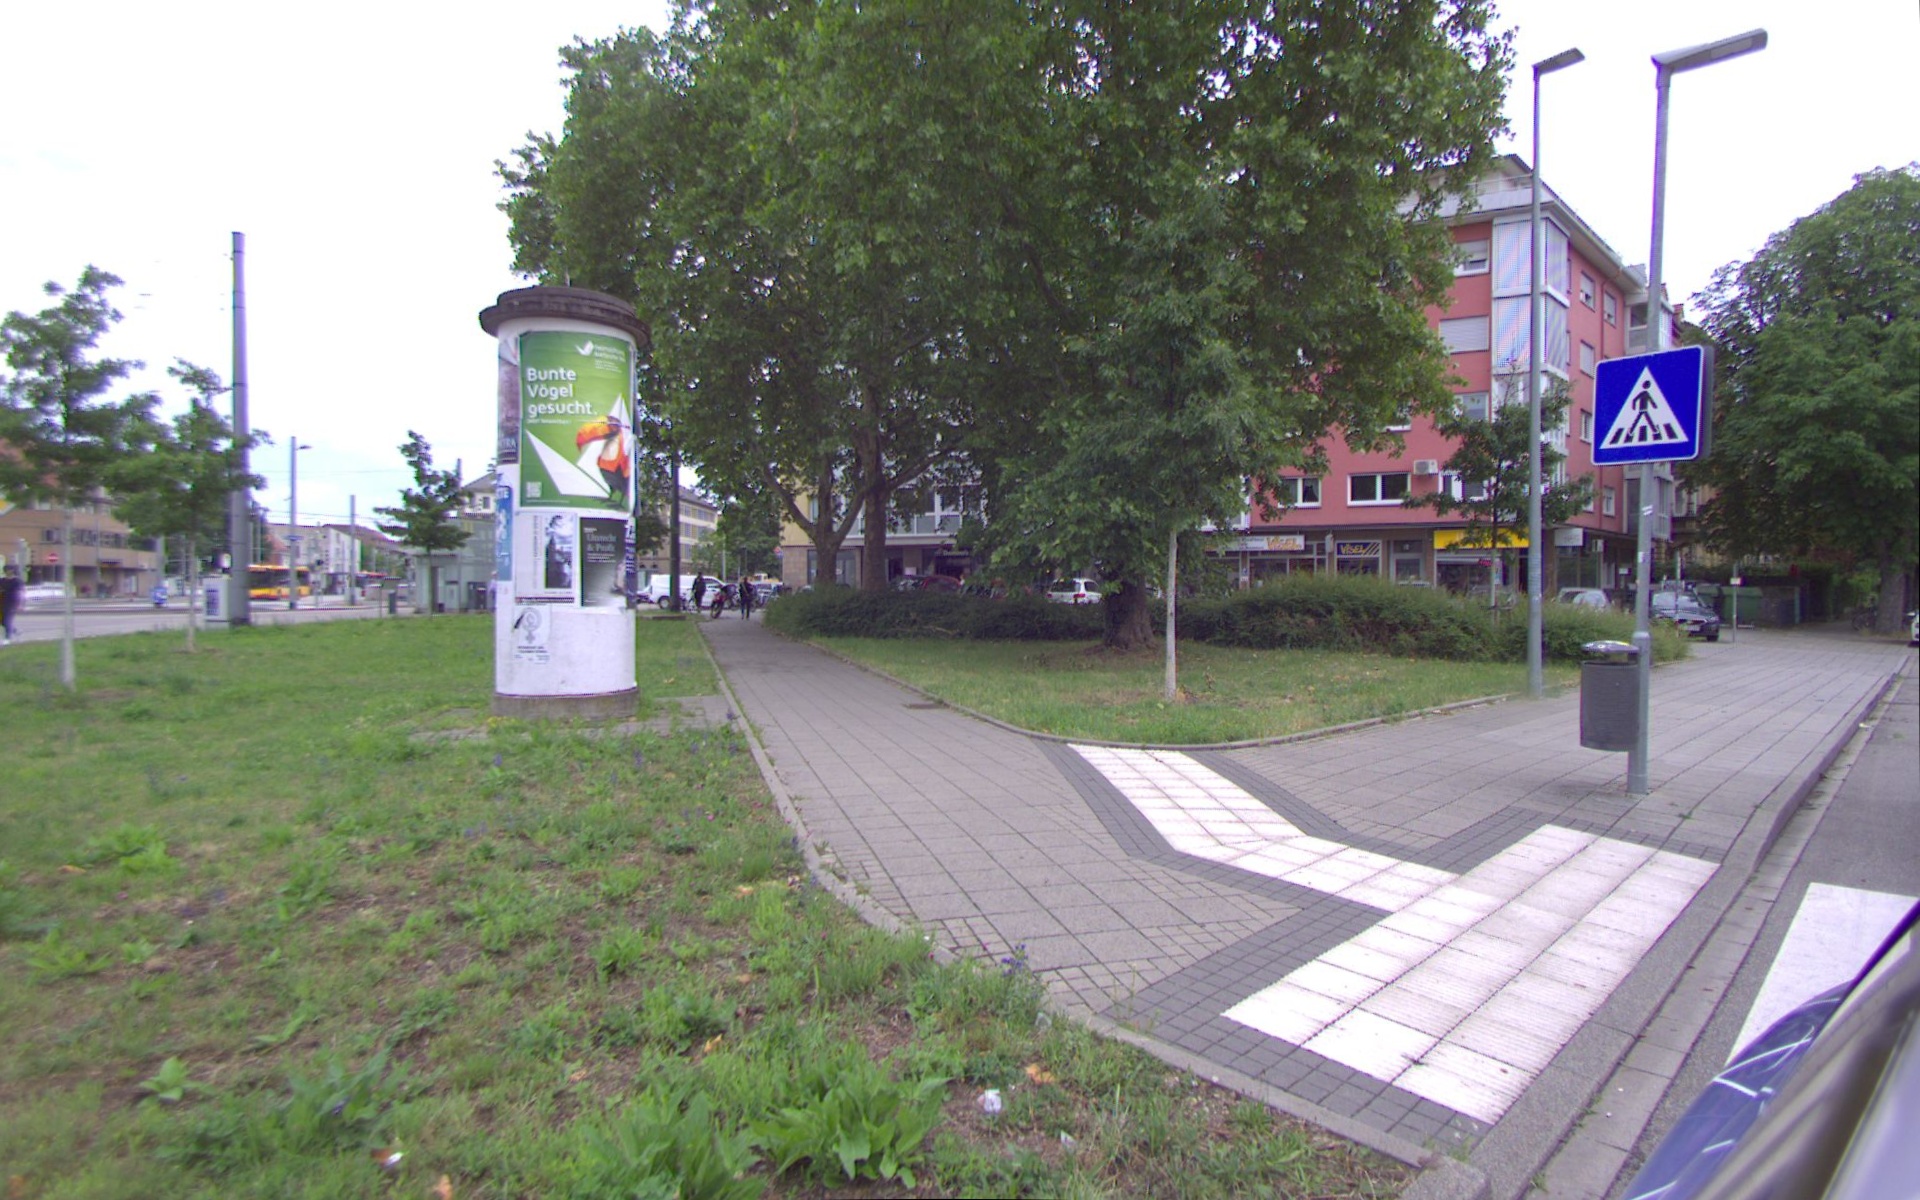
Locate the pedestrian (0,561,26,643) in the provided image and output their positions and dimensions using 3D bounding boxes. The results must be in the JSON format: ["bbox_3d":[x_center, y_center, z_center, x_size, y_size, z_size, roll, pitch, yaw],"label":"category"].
[{"bbox_3d":[-22.159,0.034,23.423,0.526,1.867,0.988,0,1,-27],"label":"pedestrian"}]

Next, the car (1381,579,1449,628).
[{"bbox_3d":[15.645,0.071,34.985,1.838,1.567,4.445,0,1,21],"label":"car"}]

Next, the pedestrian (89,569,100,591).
[{"bbox_3d":[-77.595,-1.803,90.747,0.610,1.942,0.711,0,0,-29],"label":"pedestrian"}]

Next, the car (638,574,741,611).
[{"bbox_3d":[-15.589,-0.447,58.489,5.618,2.039,2.032,-1,0,-14],"label":"car"}]

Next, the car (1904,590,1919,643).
[{"bbox_3d":[30.915,0.496,31.683,1.856,1.567,4.404,3,3,44],"label":"car"}]

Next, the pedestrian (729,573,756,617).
[{"bbox_3d":[-8.451,-0.196,39.296,0.631,1.659,0.864,0,0,25],"label":"pedestrian"}]

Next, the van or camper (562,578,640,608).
[{"bbox_3d":[-25.172,-0.490,71.183,2.173,2.039,5.108,-1,0,27],"label":"van or camper"}]

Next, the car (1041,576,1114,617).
[{"bbox_3d":[4.789,-0.167,40.665,1.839,1.567,4.443,0,1,22],"label":"car"}]

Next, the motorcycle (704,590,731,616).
[{"bbox_3d":[-9.523,0.100,39.717,0.855,1.010,1.017,0,0,-22],"label":"motorcycle"}]

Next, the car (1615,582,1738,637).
[{"bbox_3d":[22.455,0.233,31.940,1.836,1.567,4.452,0,2,17],"label":"car"}]

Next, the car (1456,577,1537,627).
[{"bbox_3d":[17.974,0.031,34.086,1.838,1.567,4.445,0,1,21],"label":"car"}]

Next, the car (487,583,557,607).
[{"bbox_3d":[-28.061,-0.309,64.912,1.758,1.482,3.963,-1,0,27],"label":"car"}]

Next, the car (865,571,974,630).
[{"bbox_3d":[-1.206,-0.015,32.336,1.839,1.744,4.443,0,1,22],"label":"car"}]

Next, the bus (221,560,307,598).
[{"bbox_3d":[-61.059,-1.840,89.162,2.908,3.162,11.563,0,1,-17],"label":"bus"}]

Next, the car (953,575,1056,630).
[{"bbox_3d":[1.476,0.030,31.326,1.839,1.567,4.443,0,1,22],"label":"car"}]

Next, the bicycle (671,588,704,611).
[{"bbox_3d":[-11.237,-0.030,41.737,1.253,0.929,0.589,1,0,28],"label":"bicycle"}]

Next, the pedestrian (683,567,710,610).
[{"bbox_3d":[-11.516,-0.488,44.230,0.929,1.820,1.087,-1,0,-1],"label":"pedestrian"}]

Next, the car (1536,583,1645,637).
[{"bbox_3d":[20.548,0.259,33.193,1.835,1.567,4.455,0,2,15],"label":"car"}]

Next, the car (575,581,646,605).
[{"bbox_3d":[-23.467,-0.490,68.108,1.846,1.567,4.426,-1,0,31],"label":"car"}]

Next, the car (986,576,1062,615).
[{"bbox_3d":[2.684,-0.190,41.499,1.839,1.508,4.443,0,1,22],"label":"car"}]

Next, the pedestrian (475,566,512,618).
[{"bbox_3d":[-18.035,-0.311,39.166,0.875,1.955,1.014,0,0,10],"label":"pedestrian"}]

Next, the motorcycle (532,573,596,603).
[{"bbox_3d":[-15.860,-0.488,40.581,0.763,1.183,2.354,0,1,37],"label":"motorcycle"}]

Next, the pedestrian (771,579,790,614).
[{"bbox_3d":[-8.541,-0.160,48.077,0.698,1.659,0.727,0,0,-25],"label":"pedestrian"}]
